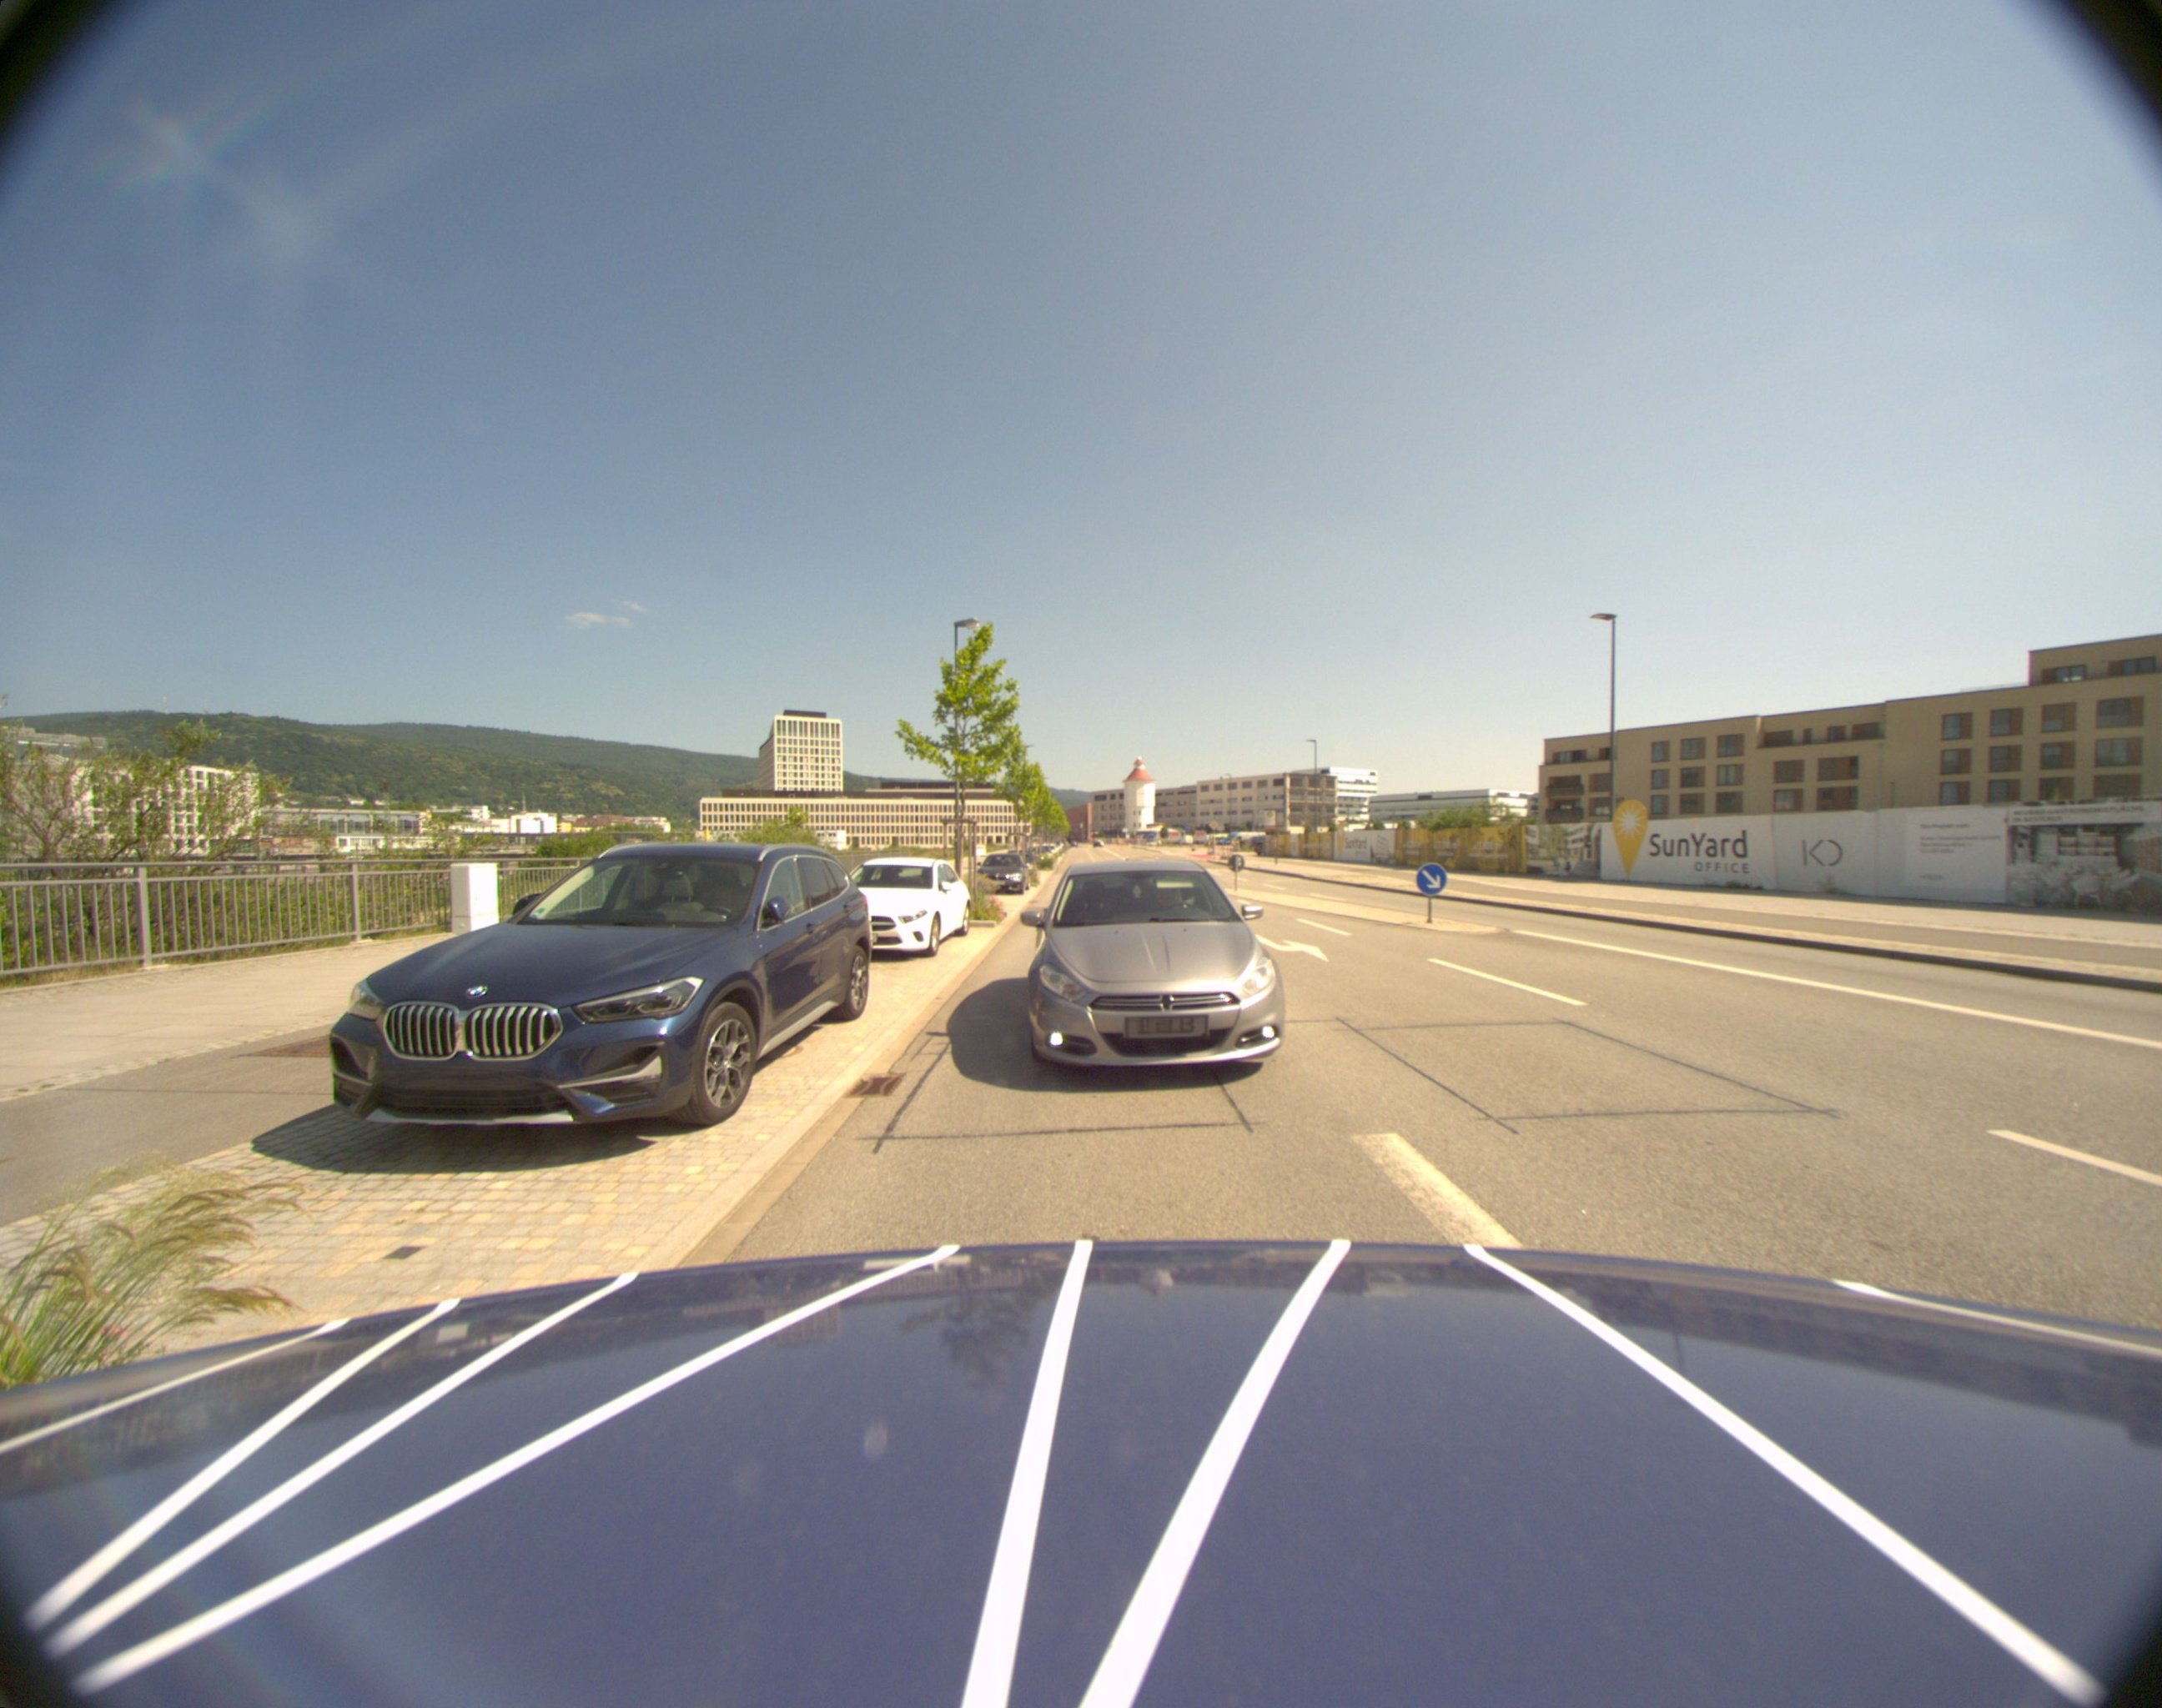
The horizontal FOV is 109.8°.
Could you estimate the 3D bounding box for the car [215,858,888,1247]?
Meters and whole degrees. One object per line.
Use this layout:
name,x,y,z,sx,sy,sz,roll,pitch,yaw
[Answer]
car,-2.879,0.895,5.481,1.769,1.598,4.238,-2,1,1

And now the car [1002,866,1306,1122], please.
car,0.468,0.883,6.648,1.784,1.372,4.135,-2,1,1

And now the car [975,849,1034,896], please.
car,-2.746,0.634,28.076,1.664,1.529,3.999,-2,1,1

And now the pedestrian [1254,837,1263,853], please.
pedestrian,18.201,-0.939,77.920,0.705,1.577,0.617,-3,1,-36

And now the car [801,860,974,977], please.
car,-2.895,0.882,12.253,1.664,1.447,3.999,-2,1,1
